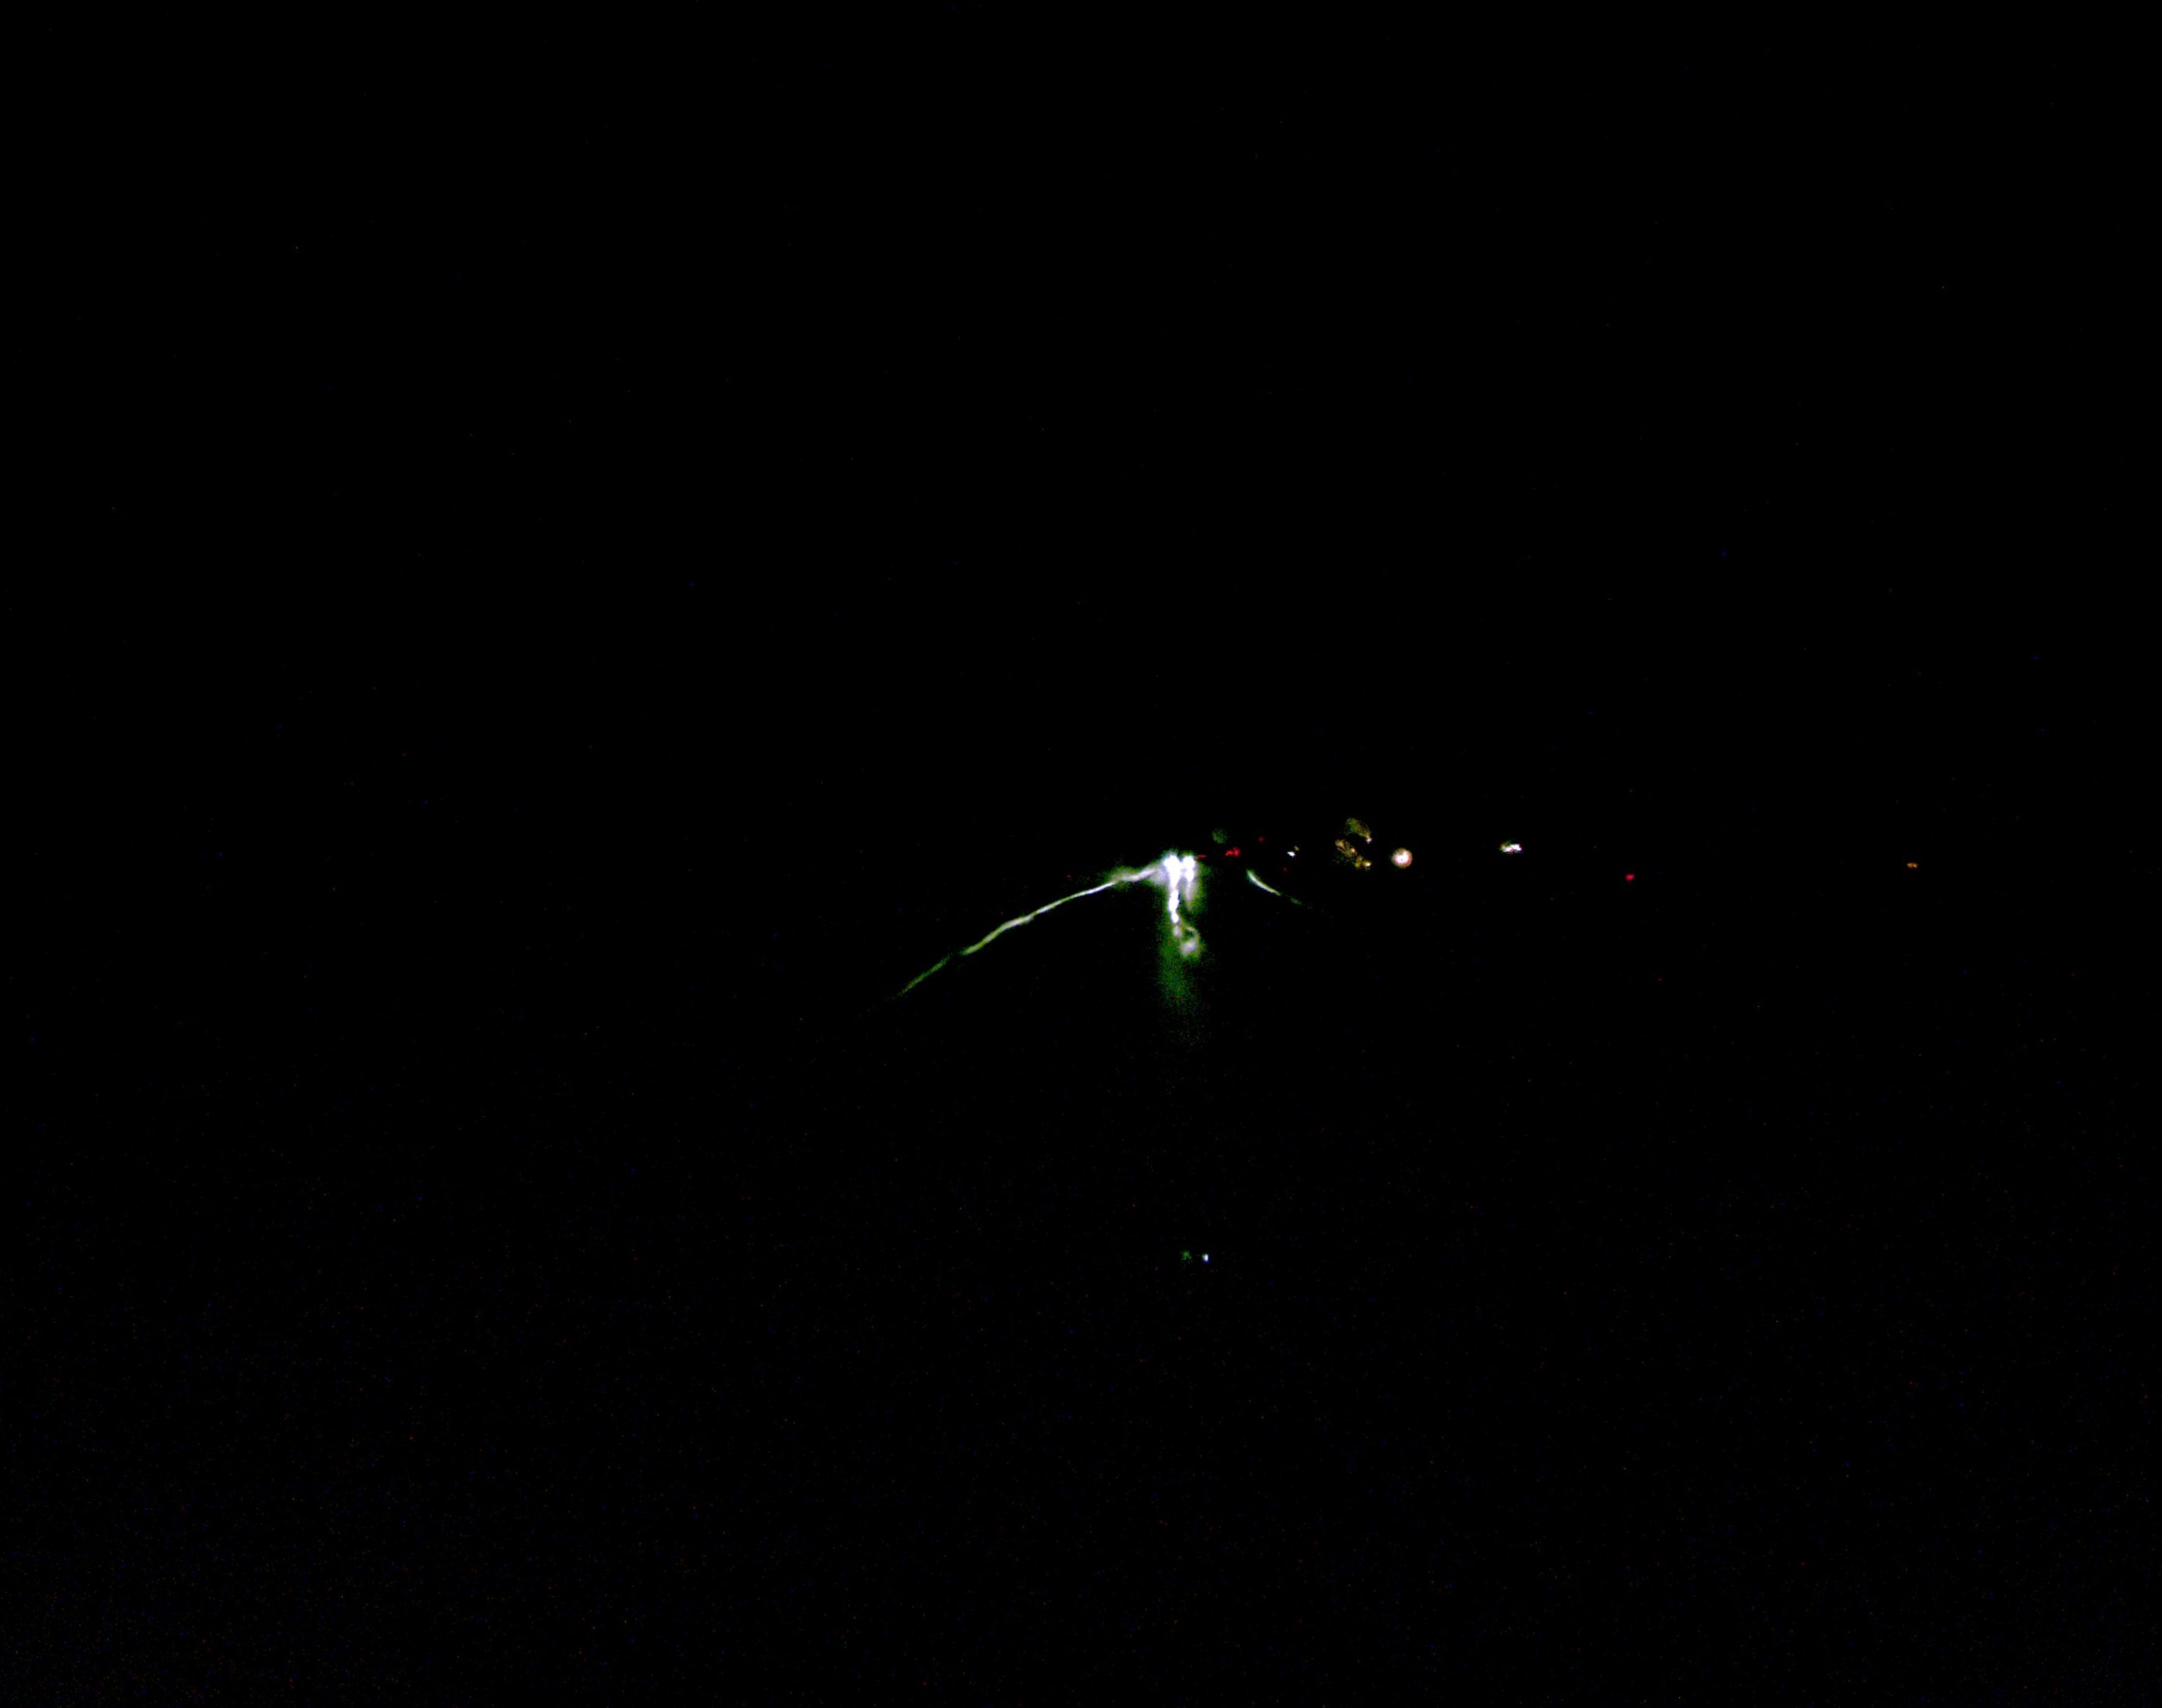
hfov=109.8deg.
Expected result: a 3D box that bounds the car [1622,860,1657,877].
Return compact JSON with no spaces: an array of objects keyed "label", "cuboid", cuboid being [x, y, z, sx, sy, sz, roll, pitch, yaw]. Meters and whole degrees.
[{"label":"car","cuboid":[54.042,1.391,73.566,1.657,1.512,3.453,-2,1,17]}]

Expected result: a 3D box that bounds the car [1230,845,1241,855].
[{"label":"car","cuboid":[24.898,-0.656,122.395,1.737,1.533,4.003,-2,1,12]}]

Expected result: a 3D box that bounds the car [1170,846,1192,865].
[{"label":"car","cuboid":[9.194,0.133,69.885,1.958,1.712,4.002,-1,1,8]}]
